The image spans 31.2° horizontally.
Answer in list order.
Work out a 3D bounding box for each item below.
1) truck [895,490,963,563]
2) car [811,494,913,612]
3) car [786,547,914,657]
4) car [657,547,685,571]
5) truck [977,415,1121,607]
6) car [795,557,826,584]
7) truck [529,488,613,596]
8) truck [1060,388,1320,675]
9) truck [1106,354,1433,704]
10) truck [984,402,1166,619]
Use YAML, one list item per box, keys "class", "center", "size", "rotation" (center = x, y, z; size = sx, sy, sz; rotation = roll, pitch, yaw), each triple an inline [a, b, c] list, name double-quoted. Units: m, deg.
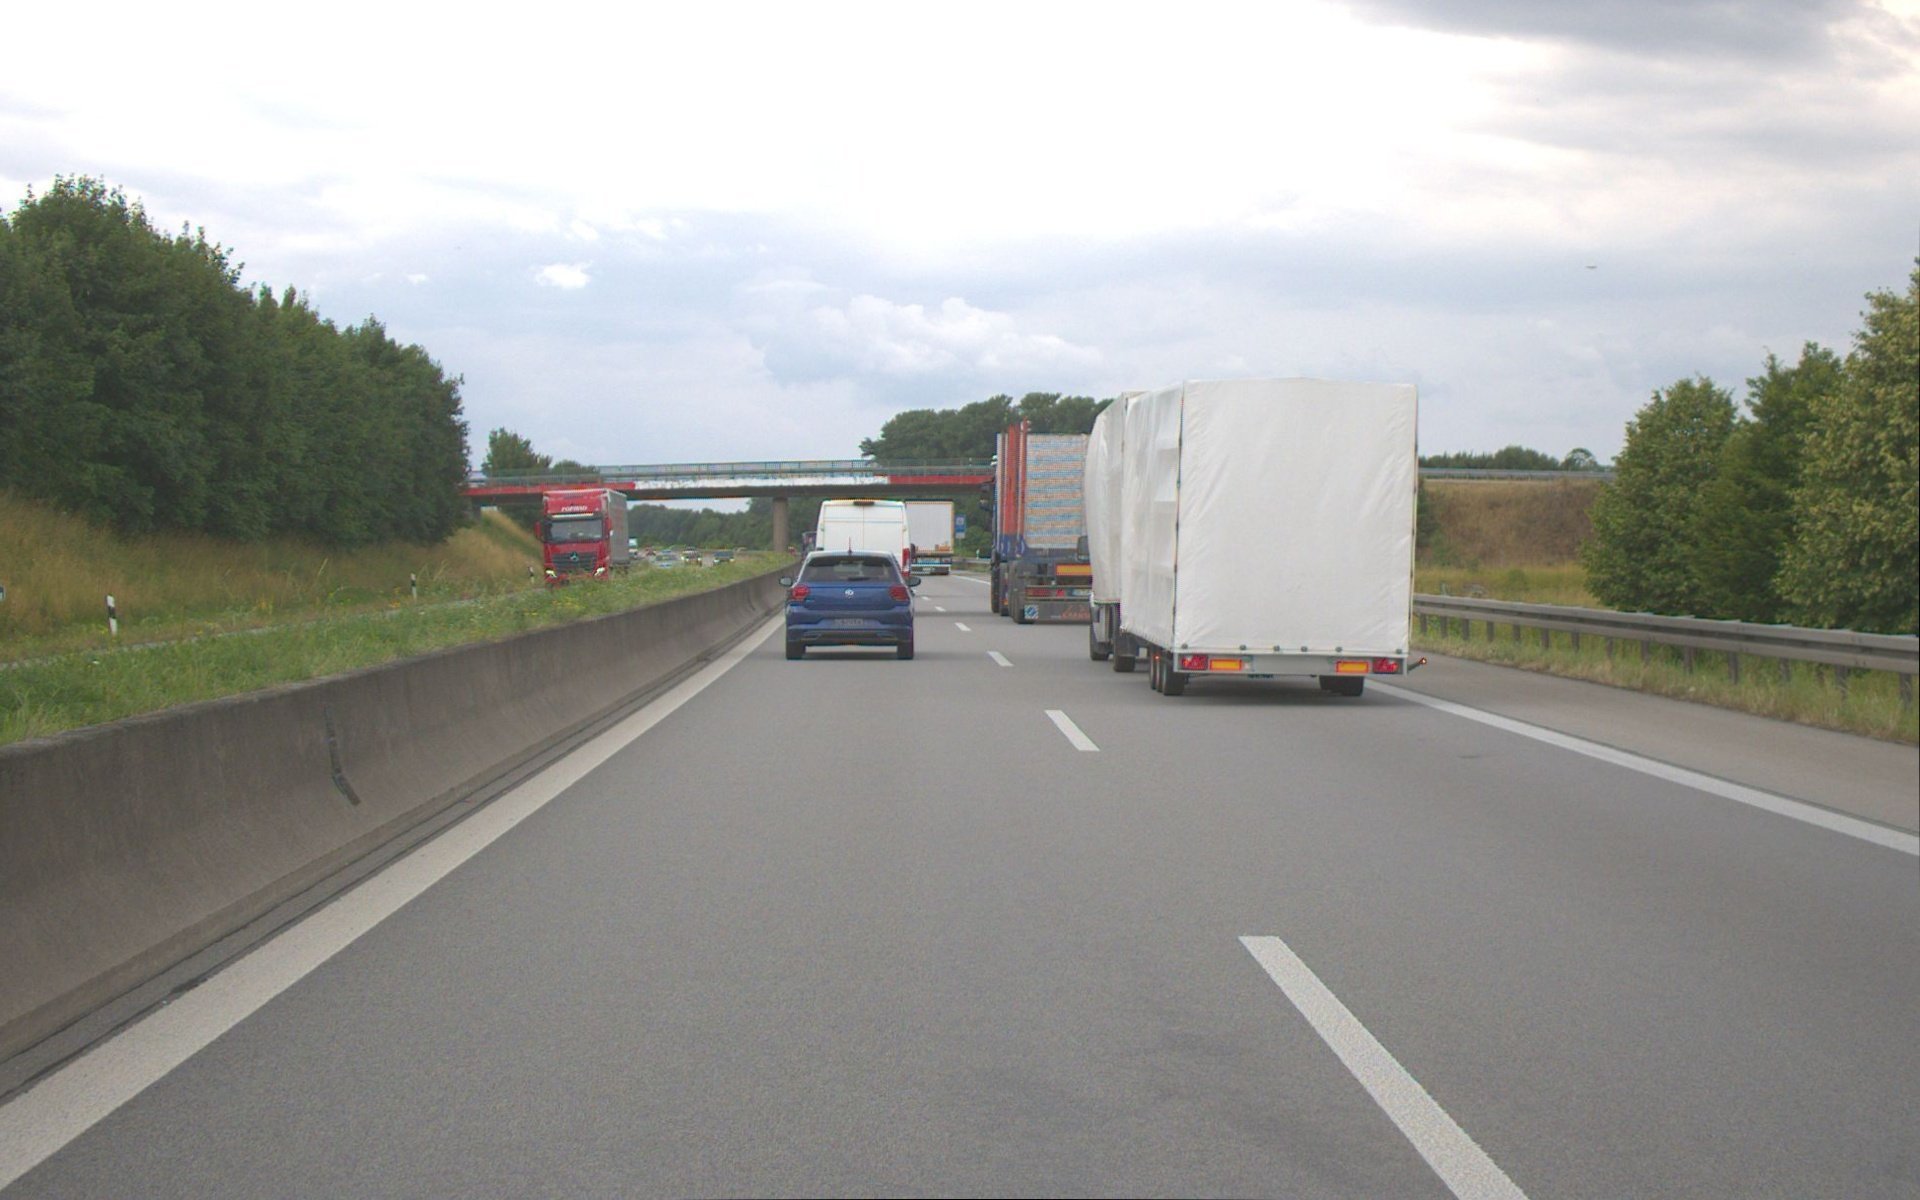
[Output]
- class: "truck"
  center: [-1.695, -3.871, 183.575]
  size: [3.110, 3.677, 9.324]
  rotation: [-2, 1, -3]
- class: "car"
  center: [-2.179, -1.029, 75.409]
  size: [2.130, 2.474, 5.840]
  rotation: [0, 1, -2]
- class: "car"
  center: [-1.487, 0.002, 46.515]
  size: [1.663, 1.402, 3.649]
  rotation: [0, 1, -2]
- class: "car"
  center: [-18.393, -2.625, 218.789]
  size: [1.646, 1.404, 3.888]
  rotation: [-3, 1, -3]
- class: "truck"
  center: [1.897, -1.946, 75.435]
  size: [2.673, 4.032, 5.513]
  rotation: [-1, 1, -3]
- class: "car"
  center: [-9.553, -1.909, 219.956]
  size: [1.993, 1.678, 4.000]
  rotation: [0, 1, -2]
- class: "truck"
  center: [-15.266, -2.291, 135.322]
  size: [2.706, 4.074, 5.165]
  rotation: [-2, 1, -2]
- class: "truck"
  center: [2.701, -0.823, 42.426]
  size: [2.429, 3.232, 7.248]
  rotation: [0, 1, -2]
- class: "truck"
  center: [3.003, -0.704, 35.234]
  size: [2.415, 3.211, 7.144]
  rotation: [0, 1, -2]
- class: "truck"
  center: [2.200, -1.814, 70.037]
  size: [2.673, 4.032, 11.109]
  rotation: [-1, 1, -3]
